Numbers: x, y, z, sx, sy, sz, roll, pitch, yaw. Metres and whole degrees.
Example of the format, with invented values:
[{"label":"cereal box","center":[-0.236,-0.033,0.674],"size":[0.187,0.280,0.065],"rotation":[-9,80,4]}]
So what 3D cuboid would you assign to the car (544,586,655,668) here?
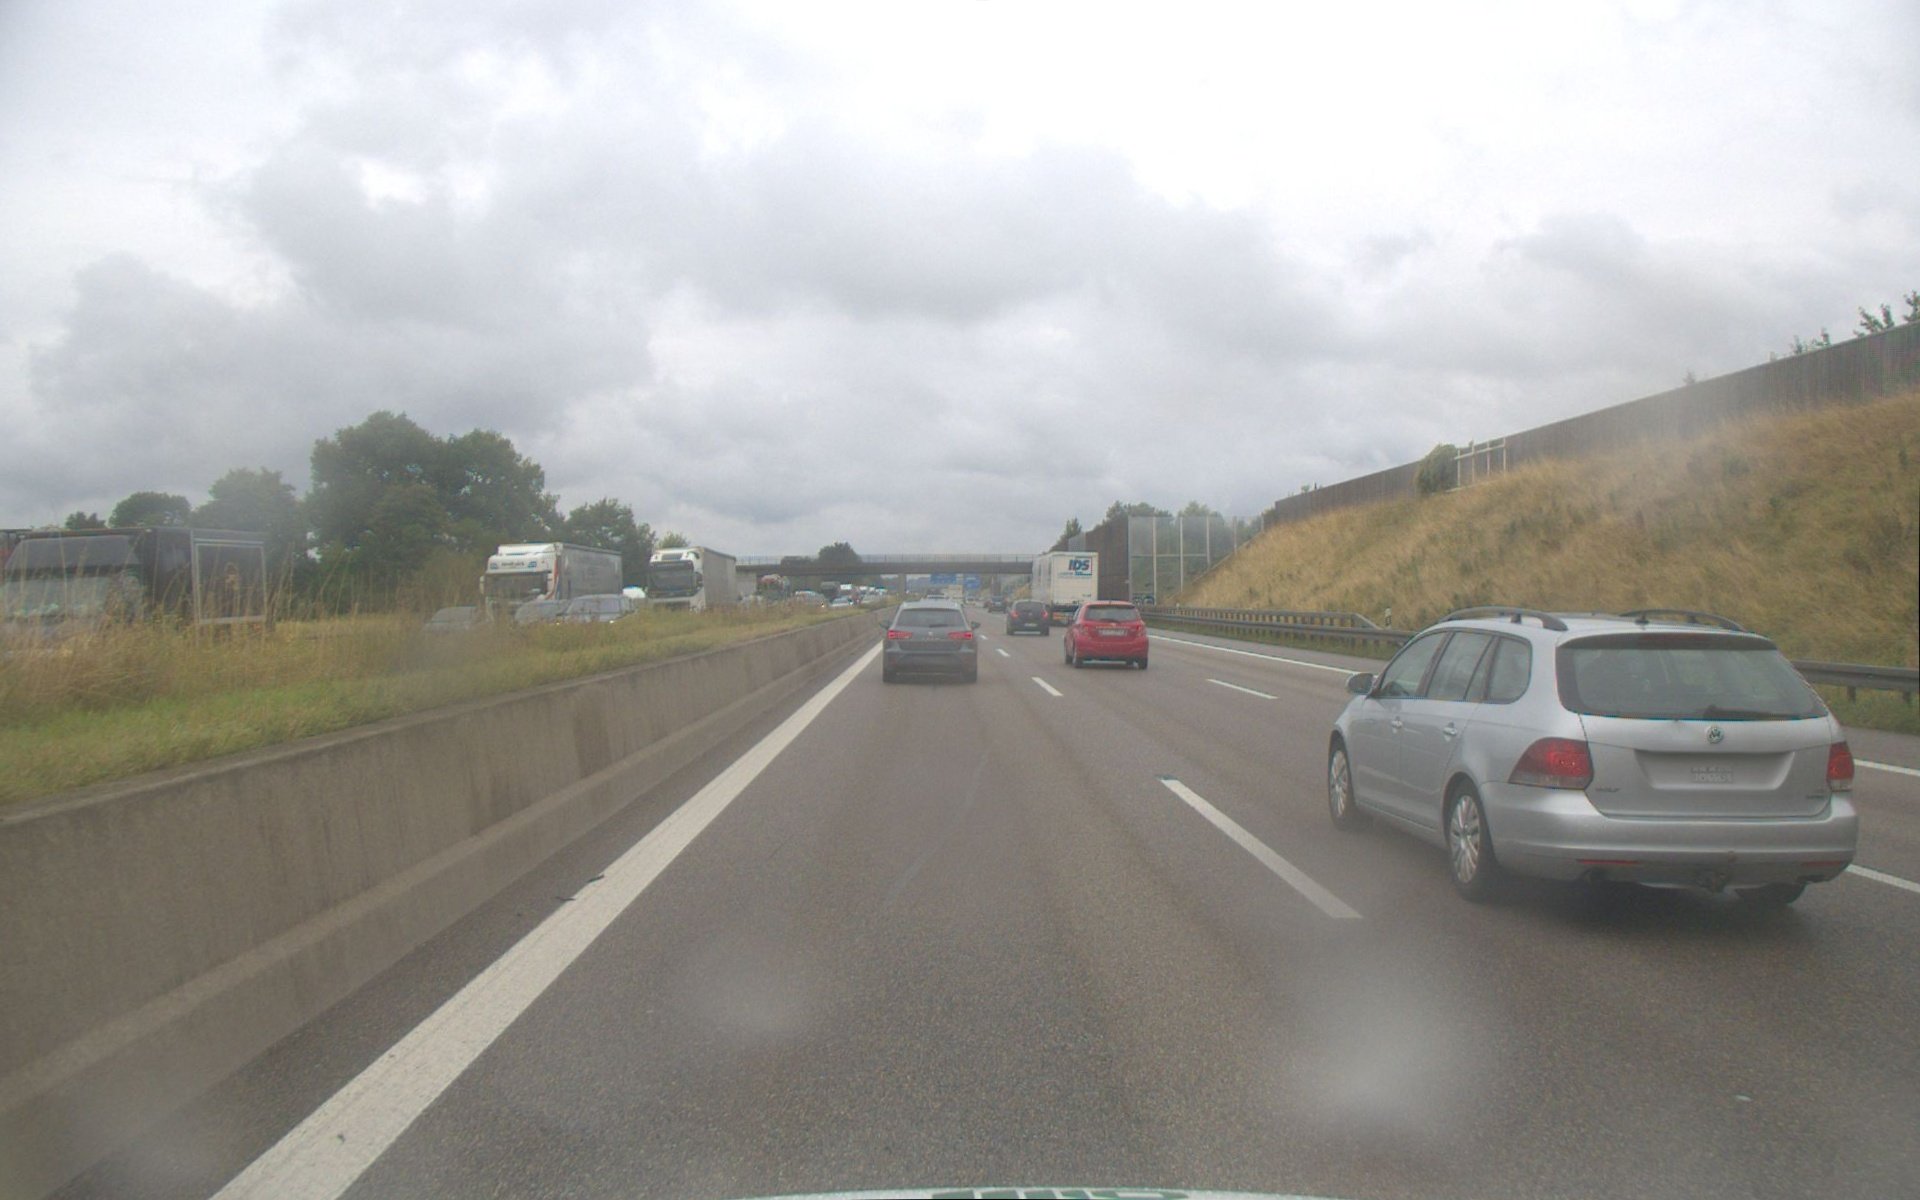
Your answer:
[{"label":"car","center":[-9.581,0.675,44.325],"size":[1.953,2.049,4.800],"rotation":[-1,0,-1]}]

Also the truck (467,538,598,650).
[{"label":"truck","center":[-17.687,-0.227,69.027],"size":[3.542,4.349,7.590],"rotation":[1,0,-1]}]

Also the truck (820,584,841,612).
[{"label":"truck","center":[-19.905,-0.274,254.471],"size":[2.701,4.121,6.253],"rotation":[1,0,-1]}]

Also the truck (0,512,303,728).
[{"label":"truck","center":[-13.140,0.288,26.558],"size":[2.264,2.959,7.422],"rotation":[1,0,-1]}]

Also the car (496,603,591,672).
[{"label":"car","center":[-13.277,1.163,52.941],"size":[1.953,2.049,4.360],"rotation":[-1,0,-1]}]

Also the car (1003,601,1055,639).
[{"label":"car","center":[2.897,0.824,69.901],"size":[1.882,1.548,4.621],"rotation":[0,0,-2]}]

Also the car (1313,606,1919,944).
[{"label":"car","center":[3.426,0.777,9.565],"size":[1.706,1.450,4.515],"rotation":[-1,0,-1]}]

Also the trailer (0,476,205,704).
[{"label":"trailer","center":[-17.335,-0.218,29.181],"size":[2.587,3.790,12.192],"rotation":[1,1,-1]}]

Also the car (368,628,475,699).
[{"label":"car","center":[-17.178,1.999,52.980],"size":[1.953,2.049,4.620],"rotation":[-1,0,-1]}]

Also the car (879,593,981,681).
[{"label":"car","center":[-0.572,0.656,30.578],"size":[1.733,1.493,3.999],"rotation":[1,0,-2]}]

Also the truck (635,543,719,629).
[{"label":"truck","center":[-13.833,-0.644,81.326],"size":[3.029,4.045,6.370],"rotation":[1,0,-1]}]

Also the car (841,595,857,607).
[{"label":"car","center":[-16.324,0.130,242.860],"size":[2.051,1.740,4.800],"rotation":[0,0,0]}]

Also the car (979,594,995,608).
[{"label":"car","center":[3.693,0.129,226.393],"size":[1.953,1.843,4.227],"rotation":[-2,0,-1]}]

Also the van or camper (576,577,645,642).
[{"label":"van or camper","center":[-20.045,0.538,95.263],"size":[2.654,3.564,7.695],"rotation":[1,0,-3]}]

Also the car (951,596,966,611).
[{"label":"car","center":[-0.218,0.541,229.042],"size":[1.953,2.049,4.240],"rotation":[1,0,-1]}]

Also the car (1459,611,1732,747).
[{"label":"car","center":[7.408,0.865,19.674],"size":[1.668,1.426,3.874],"rotation":[1,0,-2]}]

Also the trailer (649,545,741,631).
[{"label":"trailer","center":[-13.912,-0.550,87.895],"size":[3.023,4.160,12.327],"rotation":[1,0,-1]}]

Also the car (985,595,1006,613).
[{"label":"car","center":[3.470,0.434,163.235],"size":[1.808,1.716,3.998],"rotation":[1,0,-2]}]

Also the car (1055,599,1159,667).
[{"label":"car","center":[3.354,0.710,38.509],"size":[1.853,1.472,4.683],"rotation":[0,0,-2]}]

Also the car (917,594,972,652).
[{"label":"car","center":[-0.566,0.764,56.760],"size":[1.789,1.882,3.999],"rotation":[-1,0,-1]}]

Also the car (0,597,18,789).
[{"label":"car","center":[-9.568,0.818,13.252],"size":[1.745,1.747,3.999],"rotation":[1,0,-1]}]

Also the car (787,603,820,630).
[{"label":"car","center":[-11.237,1.152,119.132],"size":[1.953,1.795,5.070],"rotation":[-1,0,-1]}]

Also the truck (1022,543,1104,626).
[{"label":"truck","center":[5.905,-0.775,98.534],"size":[3.217,4.370,19.027],"rotation":[1,0,-1]}]
